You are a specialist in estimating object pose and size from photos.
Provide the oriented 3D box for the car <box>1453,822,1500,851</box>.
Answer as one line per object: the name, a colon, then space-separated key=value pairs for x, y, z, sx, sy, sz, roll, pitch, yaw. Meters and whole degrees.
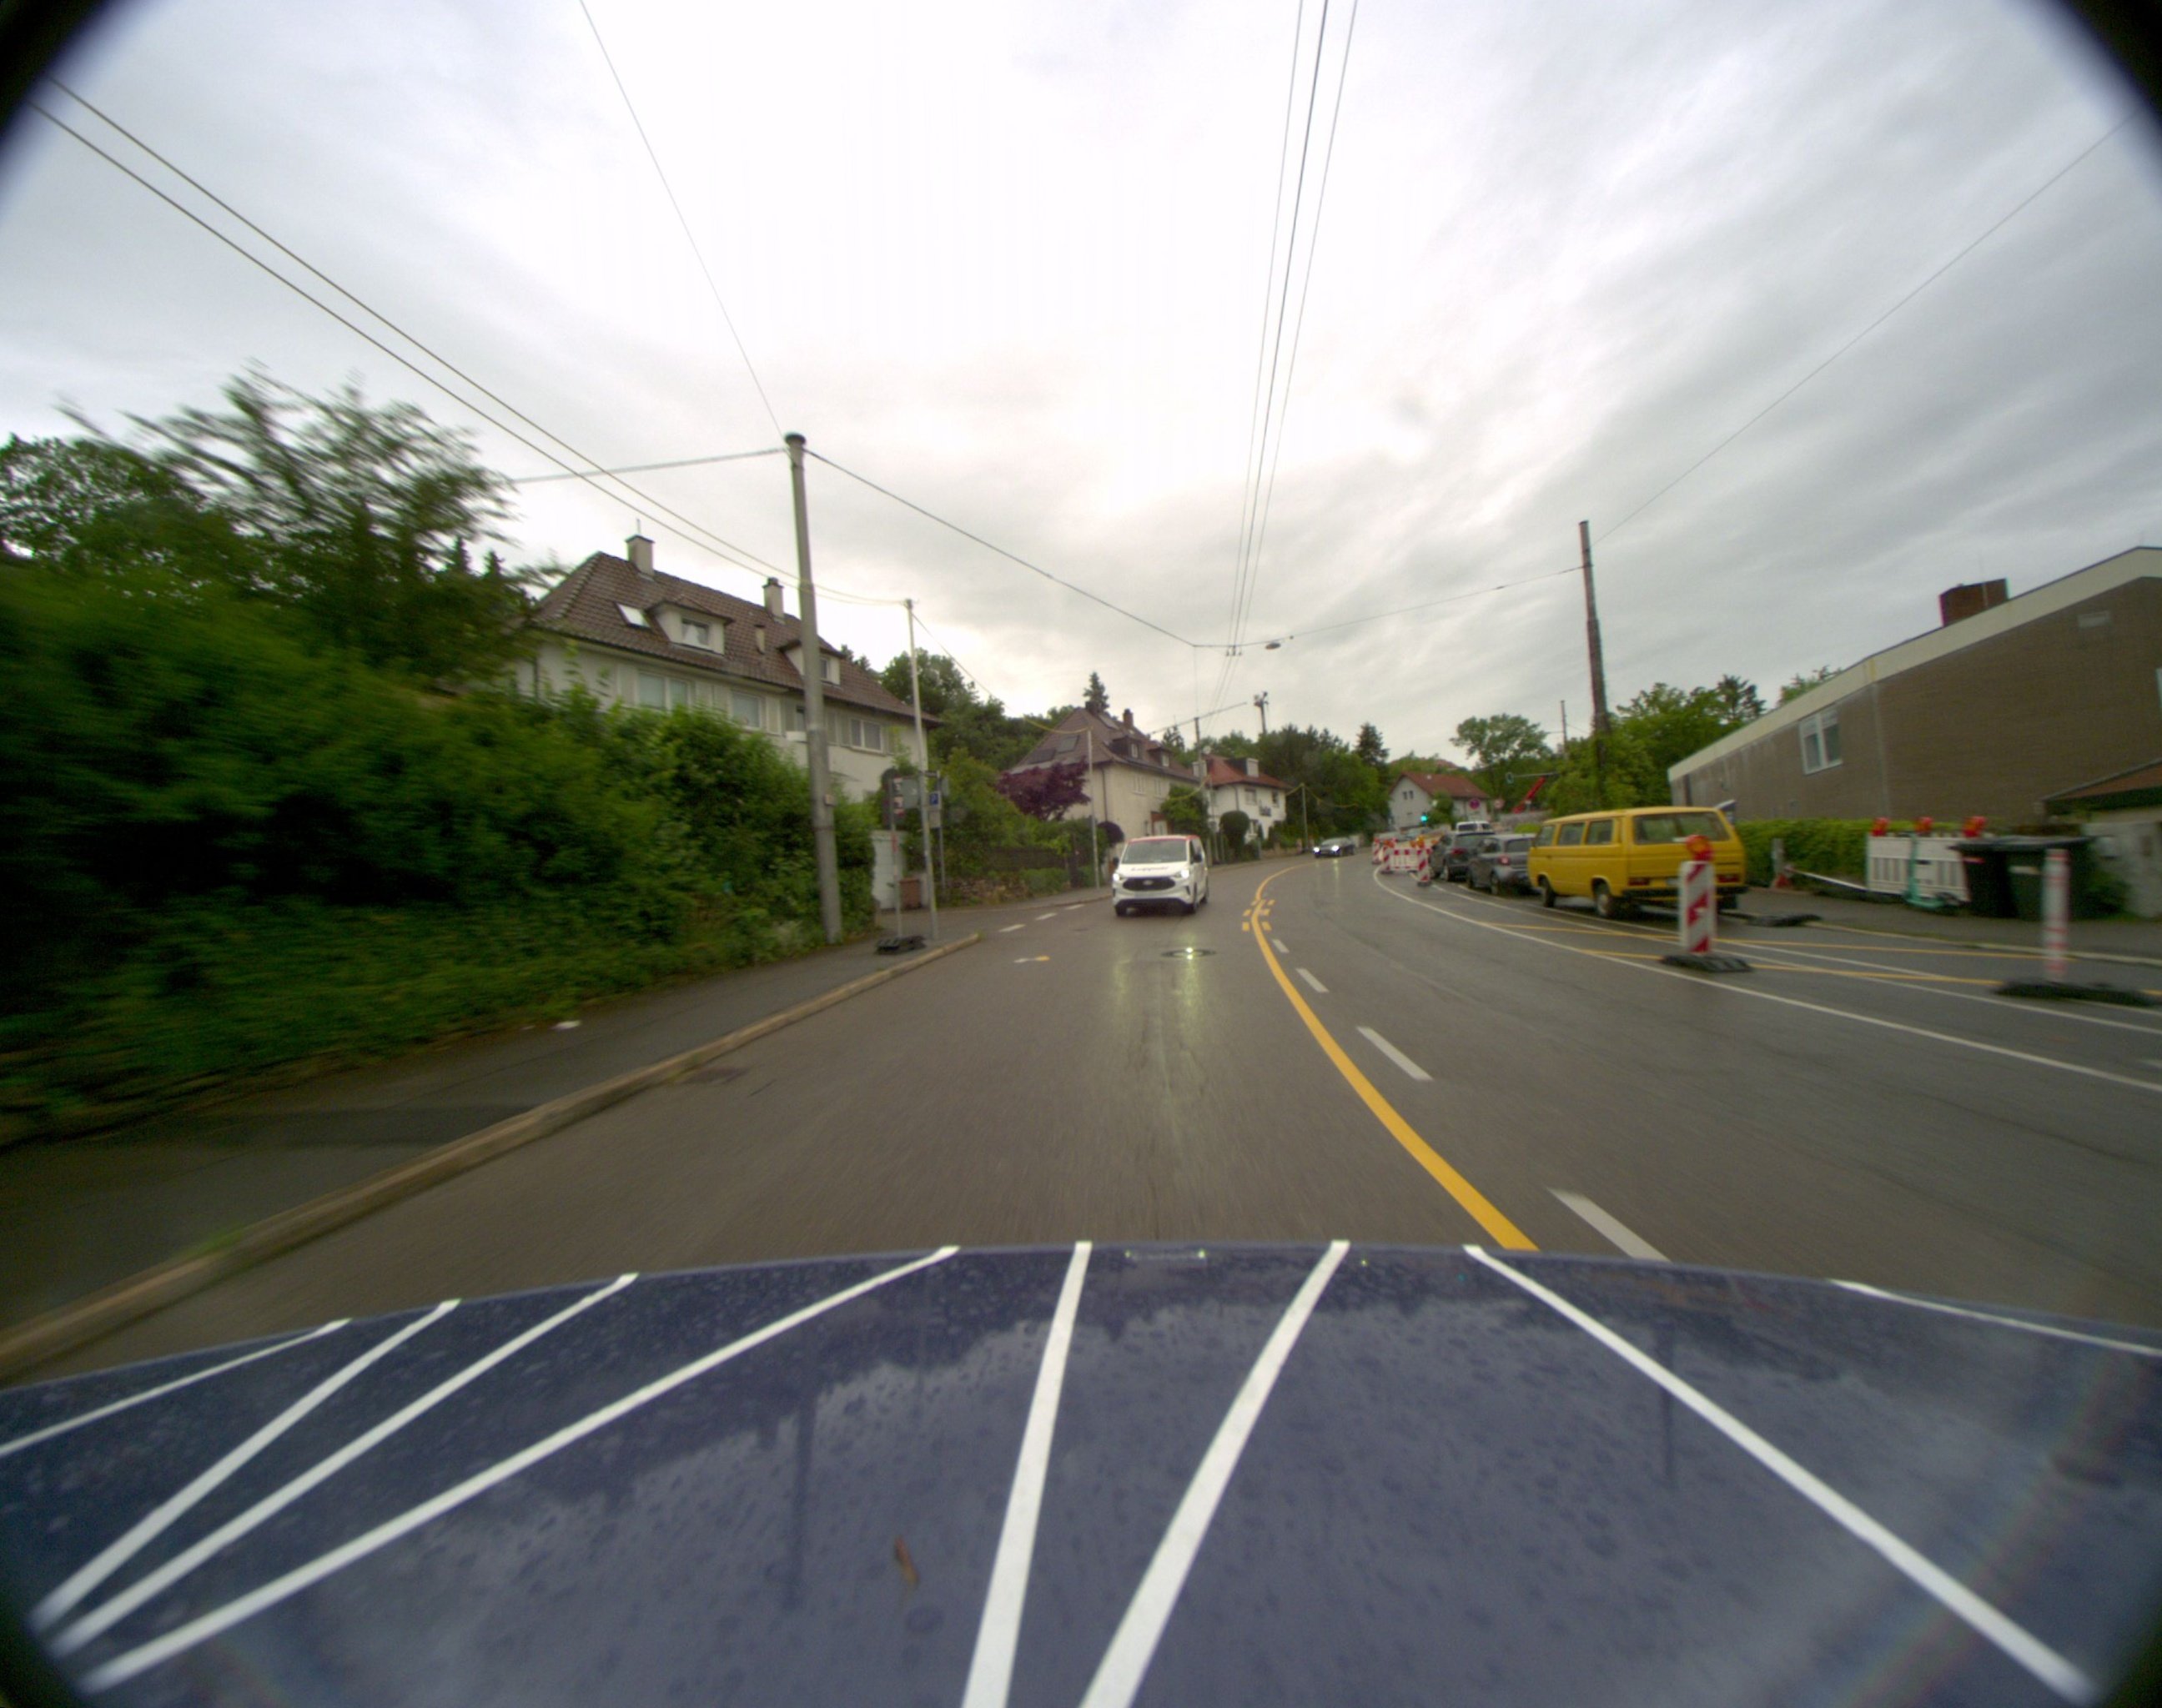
car: x=27.691 y=-1.246 z=53.092 sx=1.806 sy=1.790 sz=4.471 roll=-3 pitch=1 yaw=41

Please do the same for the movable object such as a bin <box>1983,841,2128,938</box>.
movable object such as a bin: x=12.369 y=0.433 z=9.671 sx=0.860 sy=1.134 sz=0.713 roll=-4 pitch=2 yaw=9

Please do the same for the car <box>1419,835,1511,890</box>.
car: x=12.833 y=0.234 z=25.682 sx=1.722 sy=1.598 sz=4.467 roll=-4 pitch=0 yaw=13

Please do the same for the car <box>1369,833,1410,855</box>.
car: x=23.920 y=-0.767 z=58.831 sx=1.791 sy=1.481 sz=4.680 roll=-4 pitch=0 yaw=36

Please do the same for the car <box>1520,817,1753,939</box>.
car: x=10.241 y=0.360 z=14.510 sx=1.806 sy=1.917 sz=4.580 roll=-2 pitch=1 yaw=11

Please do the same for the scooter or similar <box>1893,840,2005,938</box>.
scooter or similar: x=12.307 y=0.462 z=10.816 sx=0.399 sy=1.253 sz=1.319 roll=-6 pitch=1 yaw=21

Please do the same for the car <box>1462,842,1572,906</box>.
car: x=11.437 y=0.464 z=20.161 sx=1.577 sy=1.446 sz=3.467 roll=-3 pitch=1 yaw=13

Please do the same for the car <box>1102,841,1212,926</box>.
car: x=2.125 y=0.668 z=19.879 sx=2.039 sy=1.928 sz=4.520 roll=-2 pitch=0 yaw=16

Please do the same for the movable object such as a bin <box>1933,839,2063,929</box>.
movable object such as a bin: x=12.521 y=0.397 z=10.405 sx=0.860 sy=1.134 sz=0.713 roll=-4 pitch=2 yaw=9

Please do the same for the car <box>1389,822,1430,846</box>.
car: x=30.839 y=-1.892 z=71.299 sx=4.006 sy=1.928 sz=2.011 roll=-5 pitch=2 yaw=-42

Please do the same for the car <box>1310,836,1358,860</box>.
car: x=19.094 y=-0.462 z=57.247 sx=1.985 sy=1.428 sz=4.522 roll=-3 pitch=2 yaw=38

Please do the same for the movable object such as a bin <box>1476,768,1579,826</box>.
movable object such as a bin: x=57.004 y=-7.216 z=97.198 sx=7.047 sy=6.515 sz=9.034 roll=-5 pitch=2 yaw=-35
